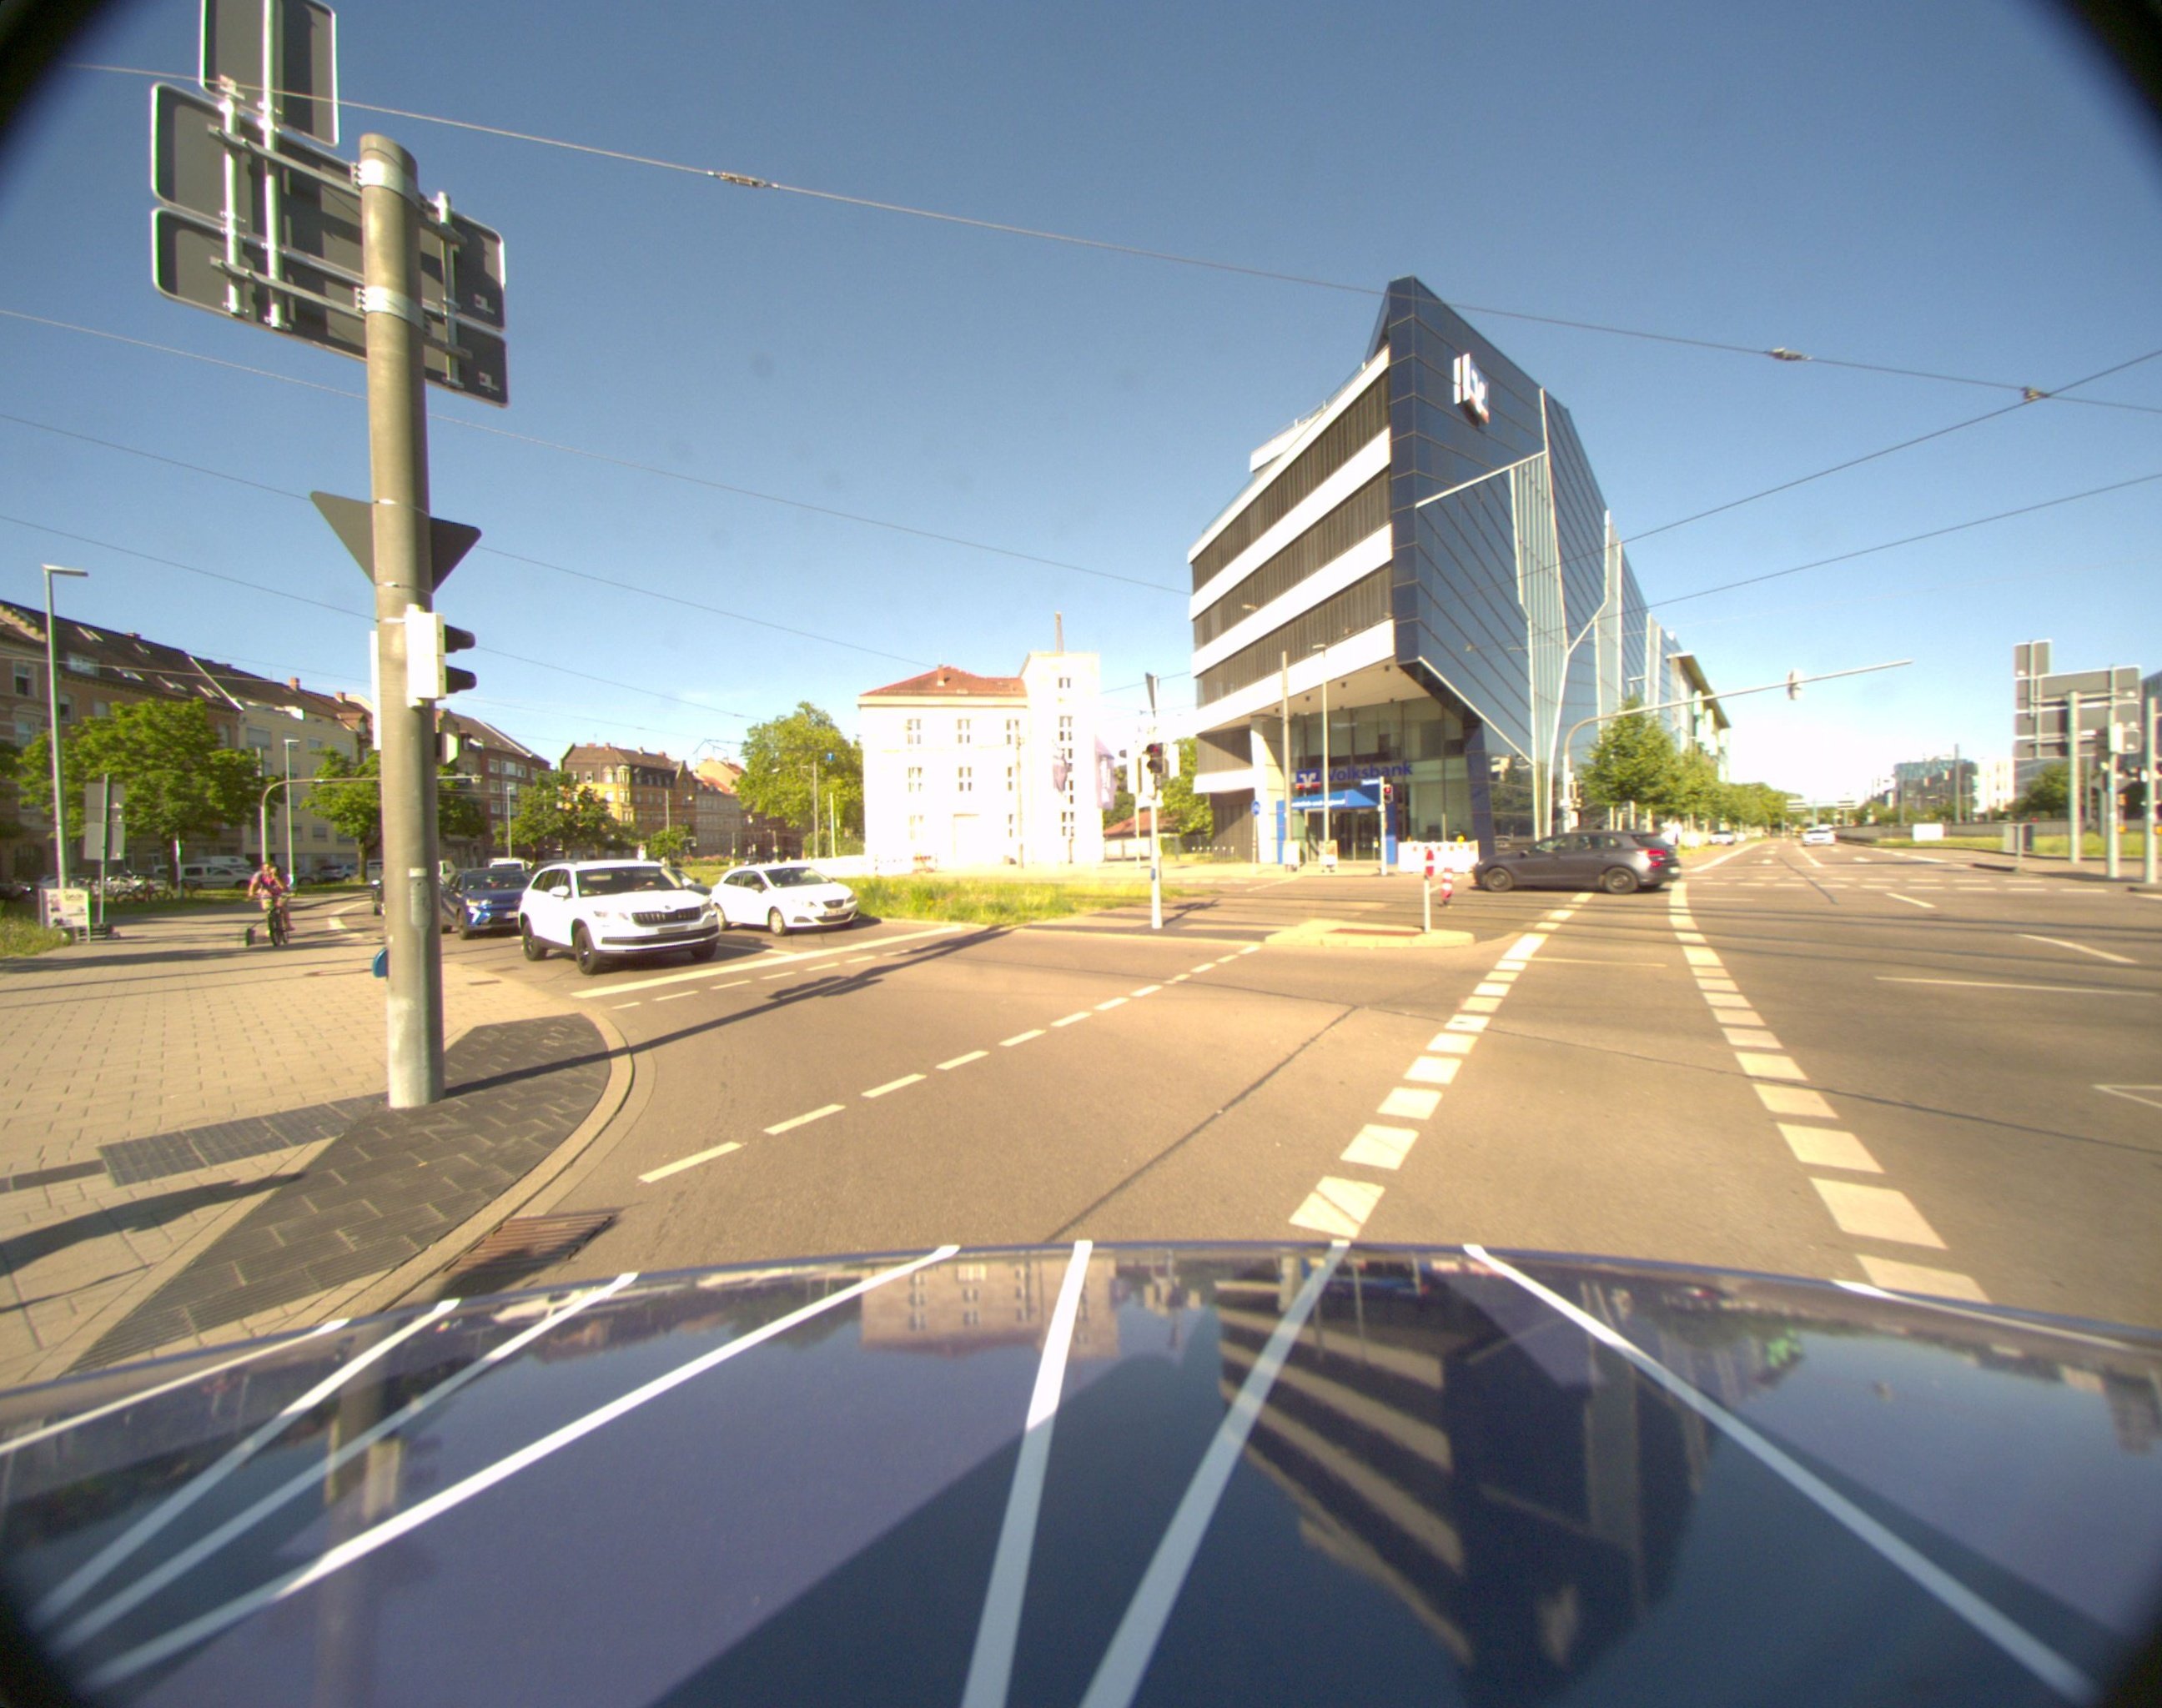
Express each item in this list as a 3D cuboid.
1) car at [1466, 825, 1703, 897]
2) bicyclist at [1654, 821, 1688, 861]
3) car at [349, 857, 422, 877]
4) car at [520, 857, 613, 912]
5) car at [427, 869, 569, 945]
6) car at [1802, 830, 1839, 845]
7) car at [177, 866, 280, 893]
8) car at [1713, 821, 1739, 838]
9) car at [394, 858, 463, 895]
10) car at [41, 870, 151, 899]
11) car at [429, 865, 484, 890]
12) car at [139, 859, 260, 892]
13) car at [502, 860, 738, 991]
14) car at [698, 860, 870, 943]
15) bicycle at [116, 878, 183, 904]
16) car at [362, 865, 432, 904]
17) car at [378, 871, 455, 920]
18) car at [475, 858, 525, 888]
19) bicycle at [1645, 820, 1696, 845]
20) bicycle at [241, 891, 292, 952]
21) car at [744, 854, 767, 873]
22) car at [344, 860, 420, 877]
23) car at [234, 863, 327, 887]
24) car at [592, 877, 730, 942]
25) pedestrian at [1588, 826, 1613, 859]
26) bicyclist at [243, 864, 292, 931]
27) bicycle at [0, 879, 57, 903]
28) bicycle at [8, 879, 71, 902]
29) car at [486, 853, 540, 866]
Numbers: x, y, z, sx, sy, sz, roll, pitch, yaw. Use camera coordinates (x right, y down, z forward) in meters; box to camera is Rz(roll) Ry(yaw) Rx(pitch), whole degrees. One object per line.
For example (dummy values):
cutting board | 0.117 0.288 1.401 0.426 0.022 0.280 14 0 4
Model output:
car | 11.925 0.138 18.271 2.003 1.491 4.298 -2 1 -33
bicyclist | 20.937 -0.456 26.981 0.773 1.402 0.760 -3 2 -37
car | -59.501 1.088 65.080 4.409 1.453 1.995 -2 1 -37
car | -18.058 1.015 26.599 4.315 1.675 1.773 -1 3 44
car | -14.082 1.174 18.293 3.988 1.547 1.878 -1 1 41
car | 59.259 -1.304 60.932 1.994 1.084 4.008 -1 1 43
car | -56.193 1.648 50.209 1.994 1.498 4.409 -1 1 42
car | 70.079 -2.704 82.571 1.994 1.718 4.008 -1 1 43
car | -37.911 1.235 44.303 1.877 1.970 4.644 -2 1 -26
car | -53.573 1.627 41.427 1.727 1.324 3.472 -1 1 43
car | -40.645 1.521 49.575 1.877 1.439 3.900 -2 1 -26
car | -54.872 1.320 47.435 1.727 1.761 4.803 -1 1 43
car | -7.482 0.982 12.169 4.326 1.621 1.878 -1 3 41
car | -6.333 0.915 16.038 3.824 1.423 1.672 -1 4 41
bicycle | -41.178 1.631 33.613 0.568 1.018 1.763 -1 1 14
car | -30.240 1.313 33.564 3.988 1.547 1.878 -1 1 43
car | -22.584 1.346 25.780 3.826 1.425 1.589 -1 1 44
car | -33.084 1.038 43.361 1.878 1.547 3.990 -2 1 -33
bicycle | 20.950 -0.763 26.996 2.572 0.835 0.768 -3 1 -37
bicycle | -17.275 1.402 16.143 2.005 1.098 0.698 1 1 44
car | -32.628 0.931 76.317 1.772 1.740 3.993 -2 1 -19
car | -57.727 1.183 62.832 4.409 1.227 1.995 -2 1 -37
car | -56.426 1.458 53.606 1.994 1.453 4.409 -1 1 42
car | -11.542 1.417 20.747 4.471 1.423 1.845 -1 3 42
pedestrian | 25.228 -0.563 36.896 0.614 1.547 0.855 -3 2 -43
bicyclist | -17.406 0.916 16.274 0.736 1.369 0.698 2 2 44
bicycle | -49.807 1.744 35.829 1.764 1.018 0.451 -2 1 -24
bicycle | -50.173 1.752 36.626 1.764 1.018 0.451 -2 1 -24
car | -61.993 0.618 82.988 1.994 1.203 4.409 -1 1 43
